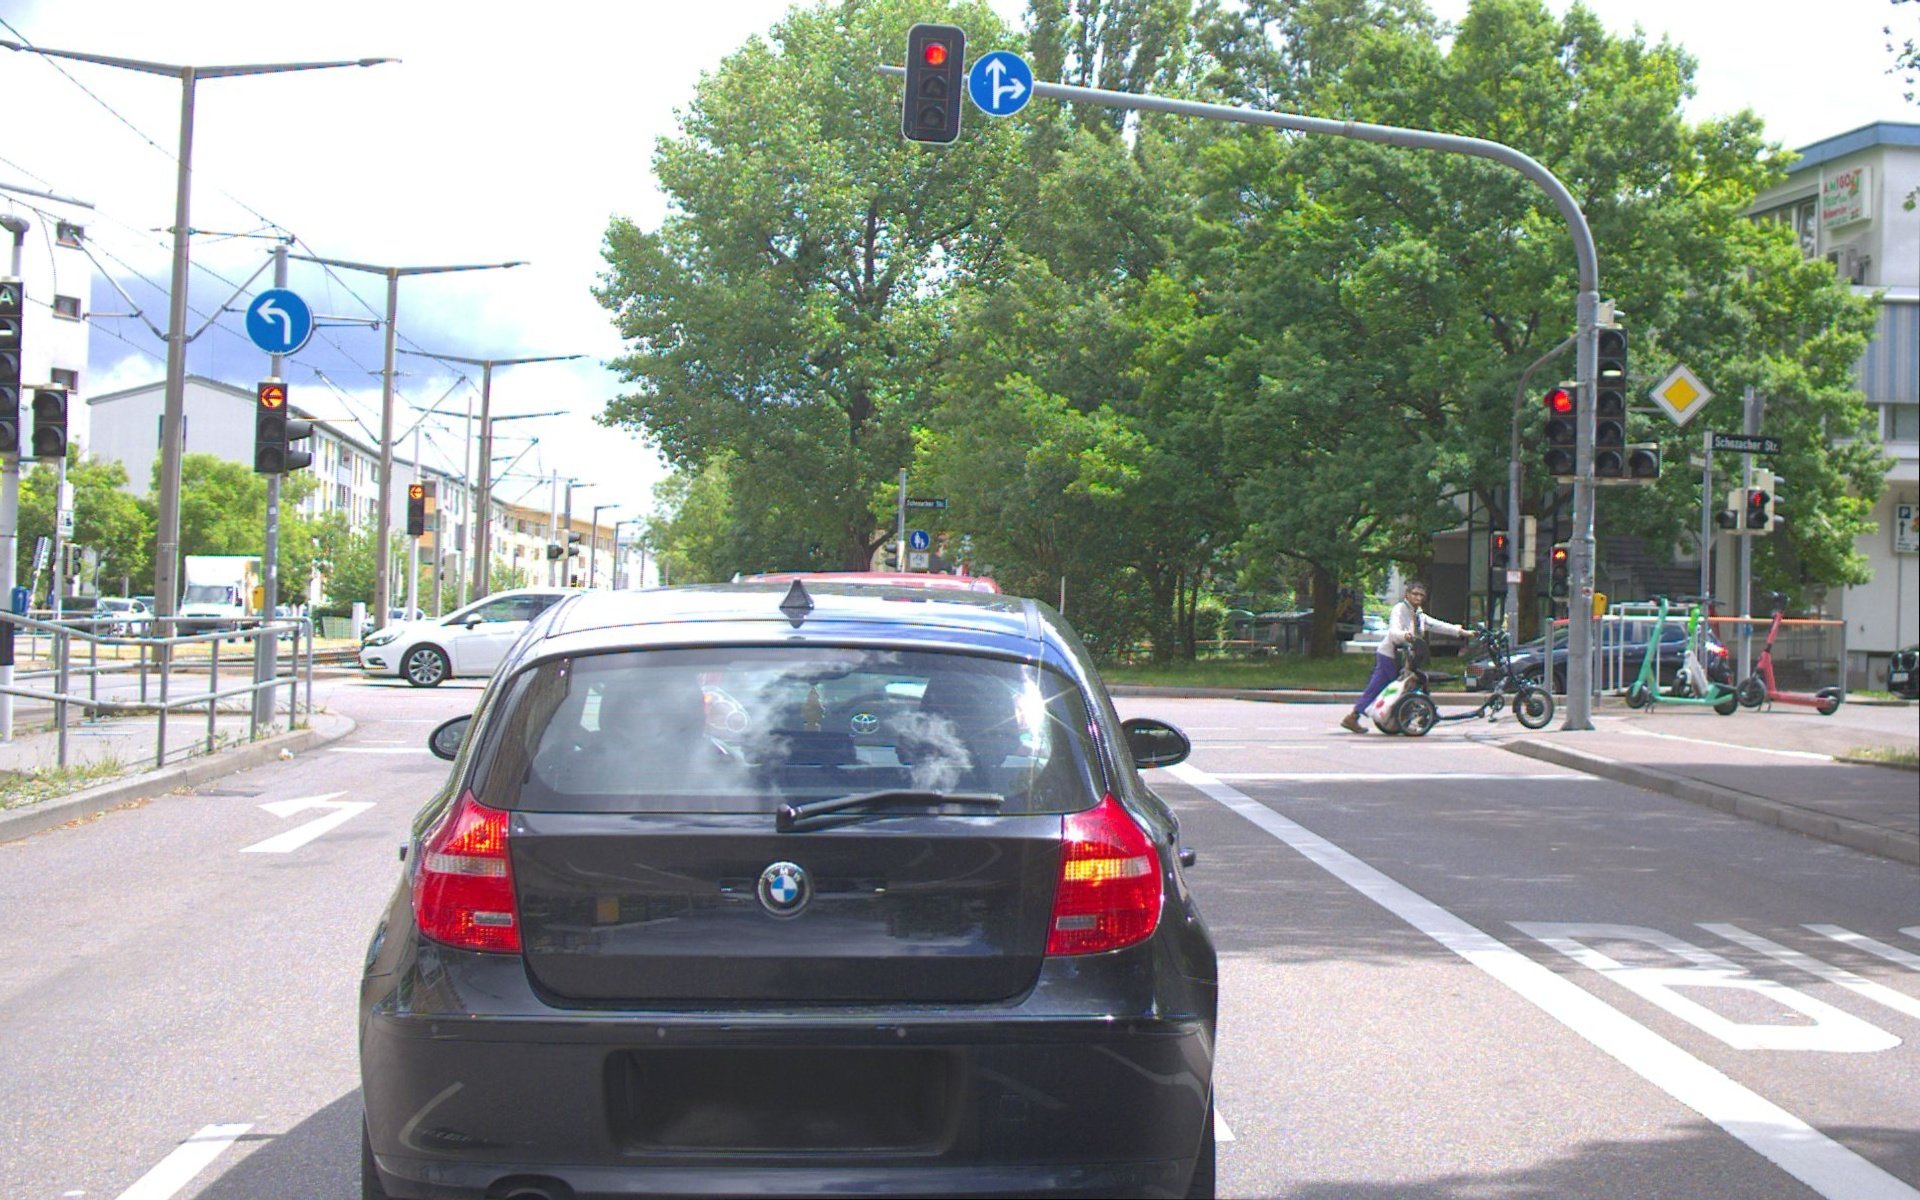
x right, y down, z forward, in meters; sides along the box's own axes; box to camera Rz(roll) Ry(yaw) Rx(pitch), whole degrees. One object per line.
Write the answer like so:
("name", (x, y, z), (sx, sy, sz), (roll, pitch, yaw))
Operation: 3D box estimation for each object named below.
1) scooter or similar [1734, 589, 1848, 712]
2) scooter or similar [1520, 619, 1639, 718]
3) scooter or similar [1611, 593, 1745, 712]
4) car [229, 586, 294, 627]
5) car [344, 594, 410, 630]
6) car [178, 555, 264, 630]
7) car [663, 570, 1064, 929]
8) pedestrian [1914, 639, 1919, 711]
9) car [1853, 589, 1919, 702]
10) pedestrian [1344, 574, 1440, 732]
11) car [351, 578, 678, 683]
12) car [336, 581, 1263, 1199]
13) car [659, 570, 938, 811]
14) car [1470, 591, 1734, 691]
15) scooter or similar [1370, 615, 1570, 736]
("scooter or similar", (8.610, 0.523, 35.628), (1.106, 1.253, 0.332), (0, 0, -12))
("scooter or similar", (6.041, 0.666, 33.520), (1.119, 0.954, 0.300), (0, 0, -16))
("scooter or similar", (7.270, 0.531, 34.824), (1.287, 1.185, 0.385), (0, 0, -16))
("car", (-28.098, 0.259, 138.432), (1.966, 1.590, 4.000), (1, 1, -3))
("car", (-26.777, 0.538, 157.969), (1.967, 1.590, 3.999), (1, 1, 6))
("car", (-26.904, -0.290, 125.280), (2.139, 2.631, 5.359), (1, 1, -2))
("car", (-0.384, 0.586, 15.574), (1.594, 1.414, 3.517), (1, 1, 0))
("pedestrian", (11.374, 0.398, 39.532), (0.614, 1.784, 0.568), (4, 0, 18))
("car", (15.049, 0.663, 50.029), (3.576, 1.595, 1.712), (1, 0, -12))
("pedestrian", (4.020, 0.482, 31.938), (0.865, 1.438, 0.798), (1, 0, 8))
("car", (-6.524, 0.440, 50.273), (4.638, 1.475, 2.001), (0, 1, -9))
("car", (-0.257, 0.686, 7.931), (1.654, 1.414, 3.517), (1, 1, 1))
("car", (-1.036, 0.532, 22.416), (1.654, 1.414, 3.517), (1, 1, -2))
("car", (9.719, 0.618, 52.163), (3.603, 1.457, 1.617), (0, 1, -8))
("scooter or similar", (4.680, 0.683, 31.536), (1.780, 1.047, 0.410), (-1, 1, -13))
